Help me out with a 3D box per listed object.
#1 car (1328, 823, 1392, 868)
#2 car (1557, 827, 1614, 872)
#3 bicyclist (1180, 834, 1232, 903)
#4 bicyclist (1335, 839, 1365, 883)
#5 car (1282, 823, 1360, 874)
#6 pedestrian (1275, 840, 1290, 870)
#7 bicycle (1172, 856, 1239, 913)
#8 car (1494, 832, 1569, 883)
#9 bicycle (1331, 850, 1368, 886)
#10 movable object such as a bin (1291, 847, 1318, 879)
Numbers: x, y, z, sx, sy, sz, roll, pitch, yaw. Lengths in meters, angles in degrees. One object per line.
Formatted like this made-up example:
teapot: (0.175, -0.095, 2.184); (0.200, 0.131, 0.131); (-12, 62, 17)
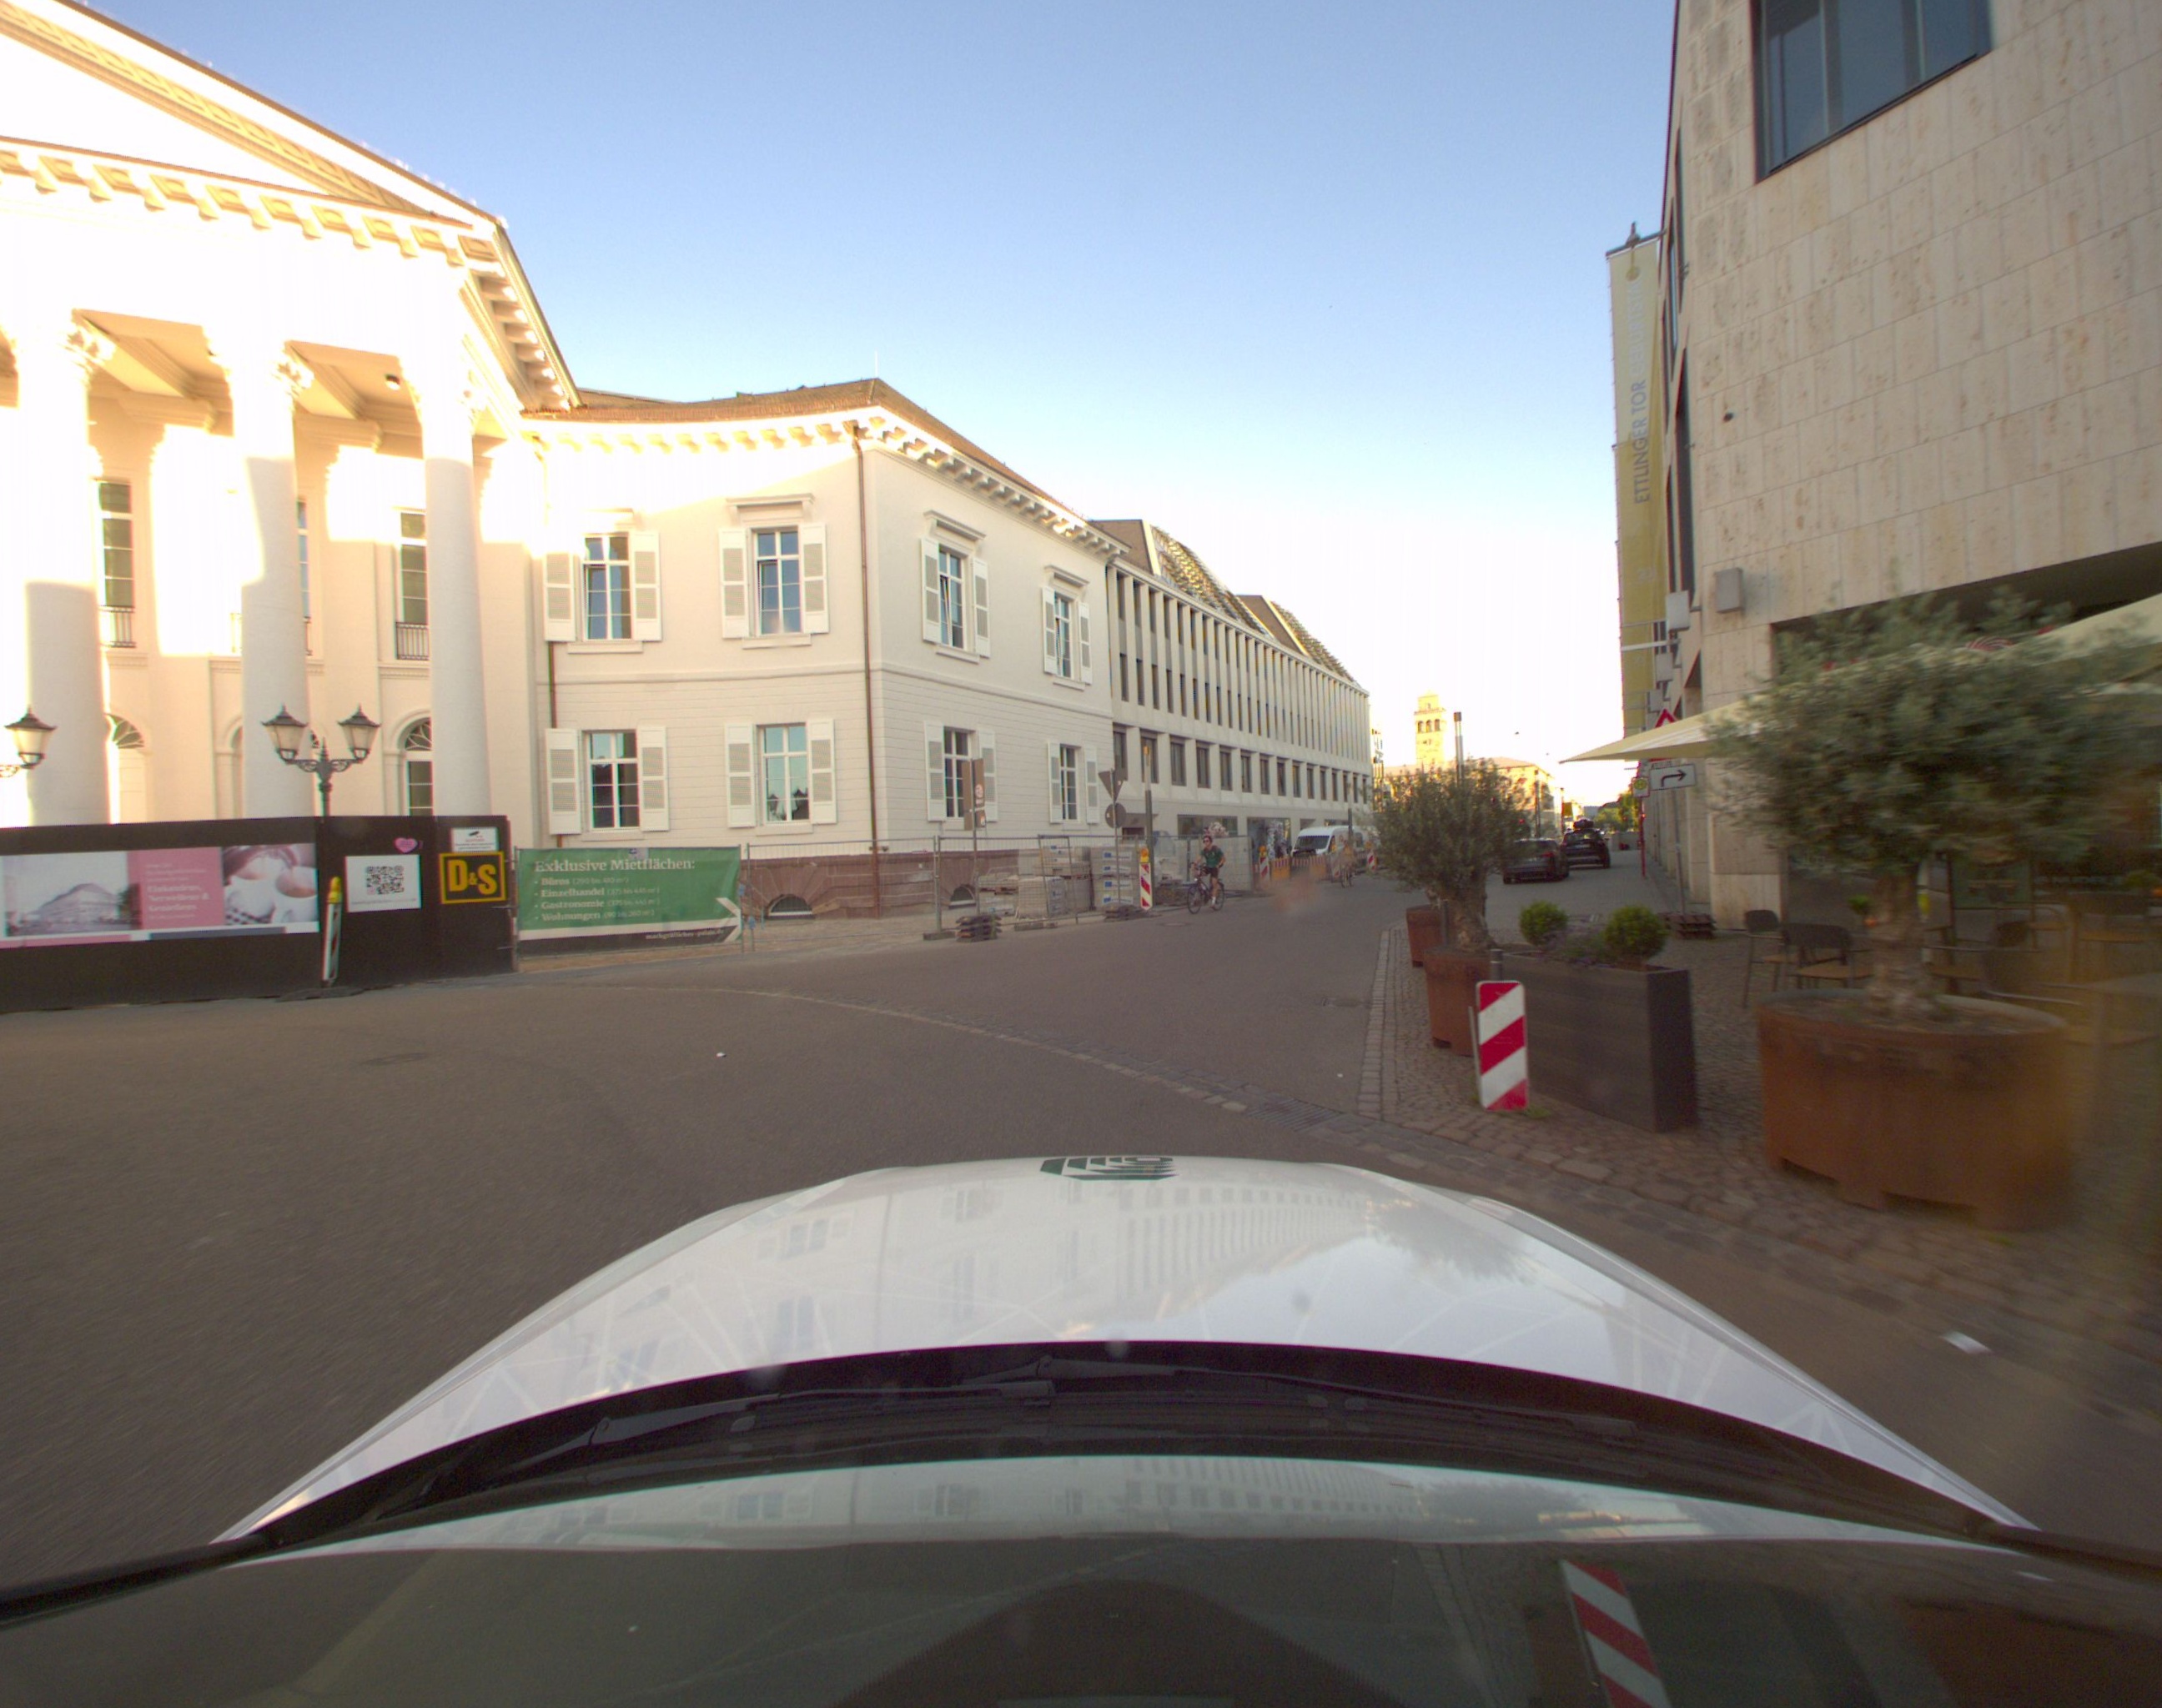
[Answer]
car: (16.855, -0.545, 48.970); (2.152, 2.470, 6.038); (-2, 0, 34)
car: (21.479, -0.213, 34.605); (1.751, 1.638, 4.083); (-6, -2, 34)
bicyclist: (3.016, 0.330, 19.601); (0.788, 1.603, 1.238); (-2, 0, 29)
bicyclist: (9.879, 0.249, 29.888); (0.788, 1.532, 0.980); (-2, 0, 31)
car: (12.692, -0.323, 42.733); (2.152, 2.470, 6.038); (-2, 0, 34)
pedestrian: (11.042, 0.055, 44.620); (0.537, 1.577, 0.583); (-2, 0, 32)
bicycle: (3.027, 0.707, 19.595); (0.788, 1.217, 2.247); (-2, 0, 29)
car: (15.650, 0.085, 28.168); (1.777, 1.490, 4.220); (-6, -2, 34)
bicycle: (9.857, 0.488, 29.872); (0.788, 1.217, 2.247); (-2, 0, 31)
movable object such as a bin: (10.744, 0.438, 39.073); (1.034, 1.466, 1.401); (-2, 0, 22)
